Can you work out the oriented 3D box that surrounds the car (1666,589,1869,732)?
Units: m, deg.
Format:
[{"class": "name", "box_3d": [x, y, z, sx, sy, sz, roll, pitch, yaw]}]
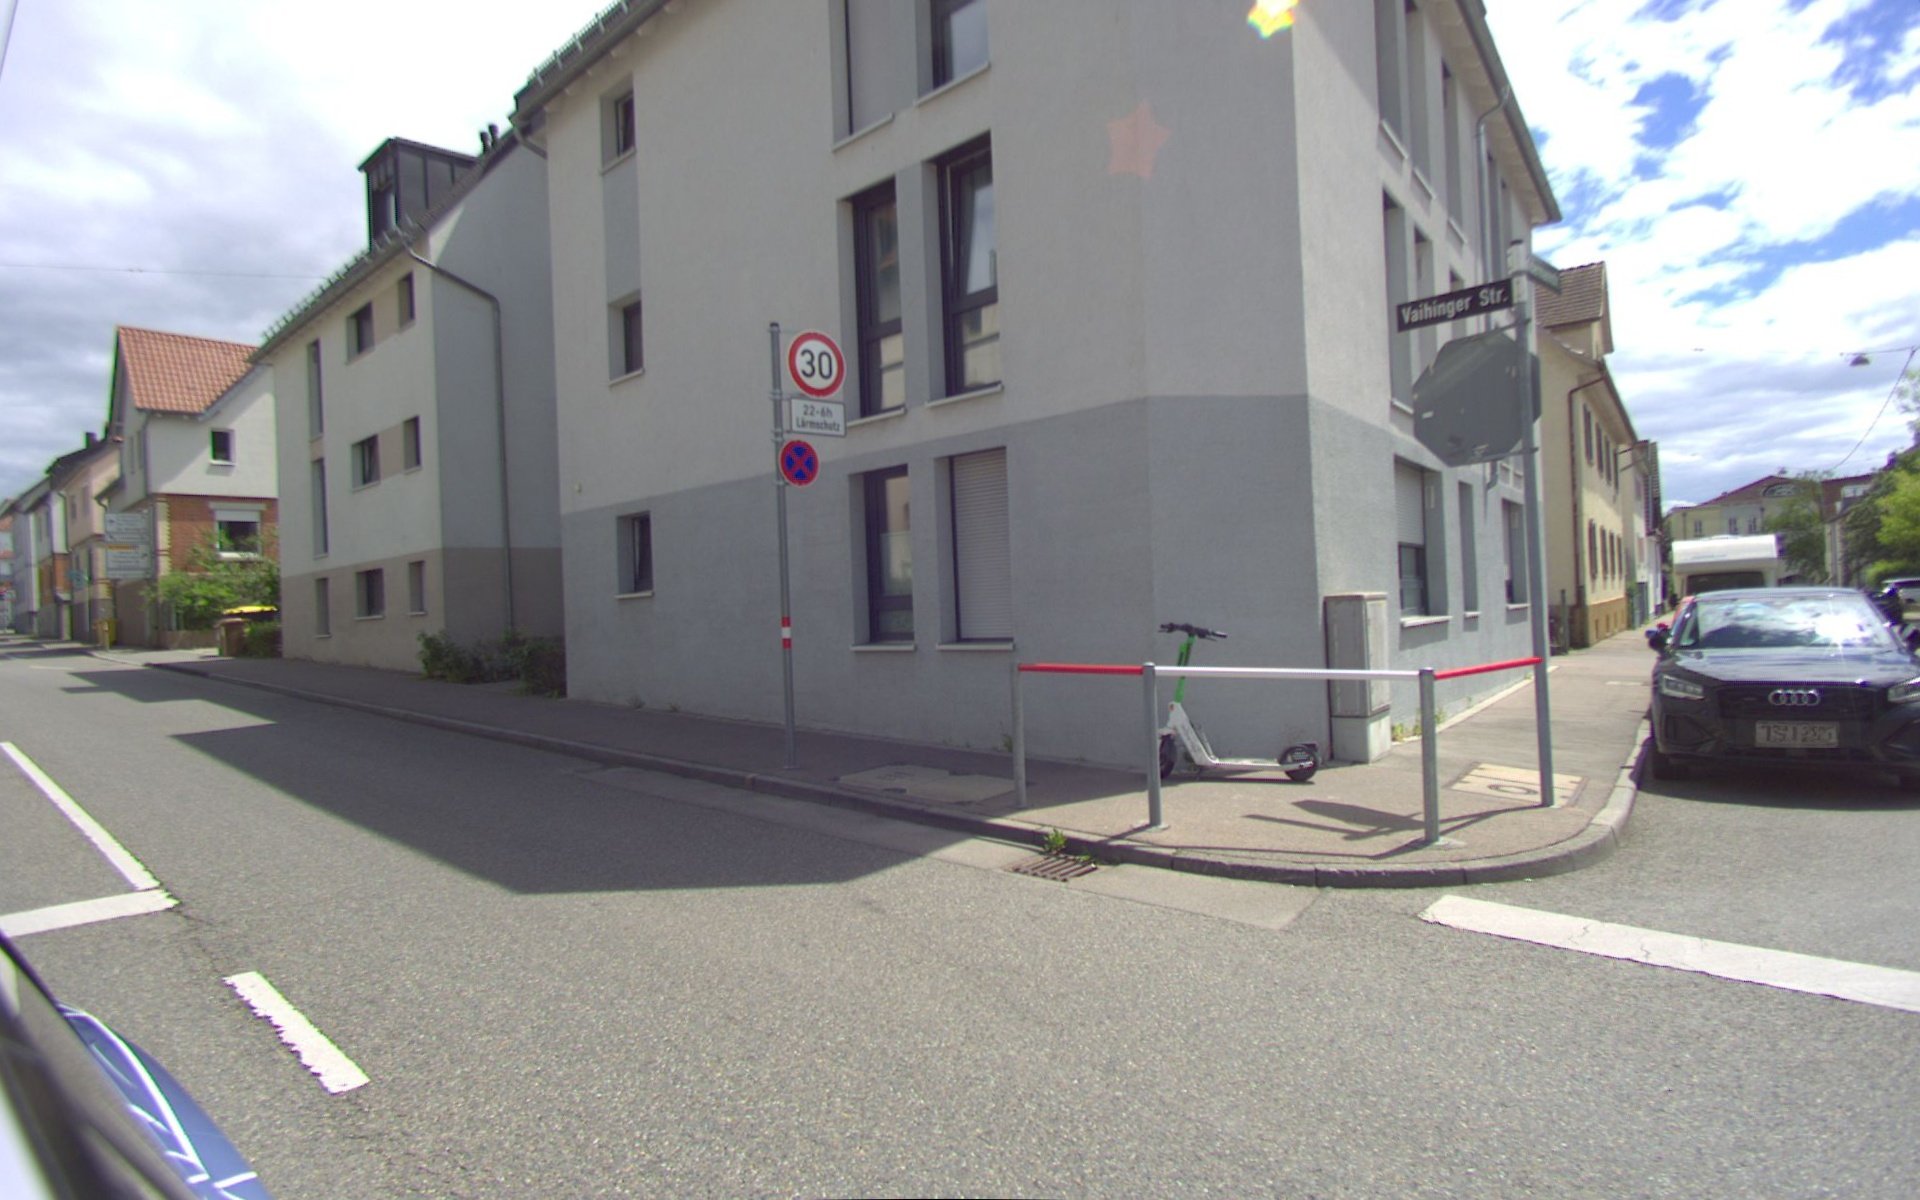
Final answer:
[{"class": "car", "box_3d": [9.615, 0.631, 12.124, 1.600, 1.411, 3.746, -4, -2, 39]}]

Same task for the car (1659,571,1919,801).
[{"class": "car", "box_3d": [7.098, 0.556, 8.485, 1.855, 1.488, 3.951, -4, -1, 36]}]

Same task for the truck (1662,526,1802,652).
[{"class": "truck", "box_3d": [21.454, -0.265, 28.475, 2.498, 2.948, 7.282, -5, -3, 34]}]

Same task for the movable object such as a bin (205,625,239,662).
[{"class": "movable object such as a bin", "box_3d": [-20.955, 1.238, 28.751, 0.657, 1.008, 0.634, -1, 0, 41]}]

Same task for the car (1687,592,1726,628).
[{"class": "car", "box_3d": [36.021, 0.451, 48.865, 1.472, 1.653, 3.398, -1, 0, 36]}]

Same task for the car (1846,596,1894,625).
[{"class": "car", "box_3d": [41.449, 0.460, 46.130, 1.287, 1.262, 3.013, -1, 0, 35]}]

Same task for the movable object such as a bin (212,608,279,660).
[{"class": "movable object such as a bin", "box_3d": [-21.033, 0.990, 29.796, 1.169, 1.457, 1.322, -1, 0, 38]}]

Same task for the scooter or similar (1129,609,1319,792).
[{"class": "scooter or similar", "box_3d": [1.918, 0.712, 7.456, 1.294, 1.271, 0.489, -1, 0, 12]}]

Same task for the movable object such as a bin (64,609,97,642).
[{"class": "movable object such as a bin", "box_3d": [-34.136, 0.969, 39.269, 0.802, 1.170, 0.757, 2, 6, 38]}]

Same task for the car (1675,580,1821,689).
[{"class": "car", "box_3d": [12.322, 0.507, 16.005, 1.547, 1.484, 3.569, -5, -3, 35]}]

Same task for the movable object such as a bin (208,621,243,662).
[{"class": "movable object such as a bin", "box_3d": [-20.459, 1.148, 28.186, 0.660, 1.083, 0.634, -1, 0, 39]}]
